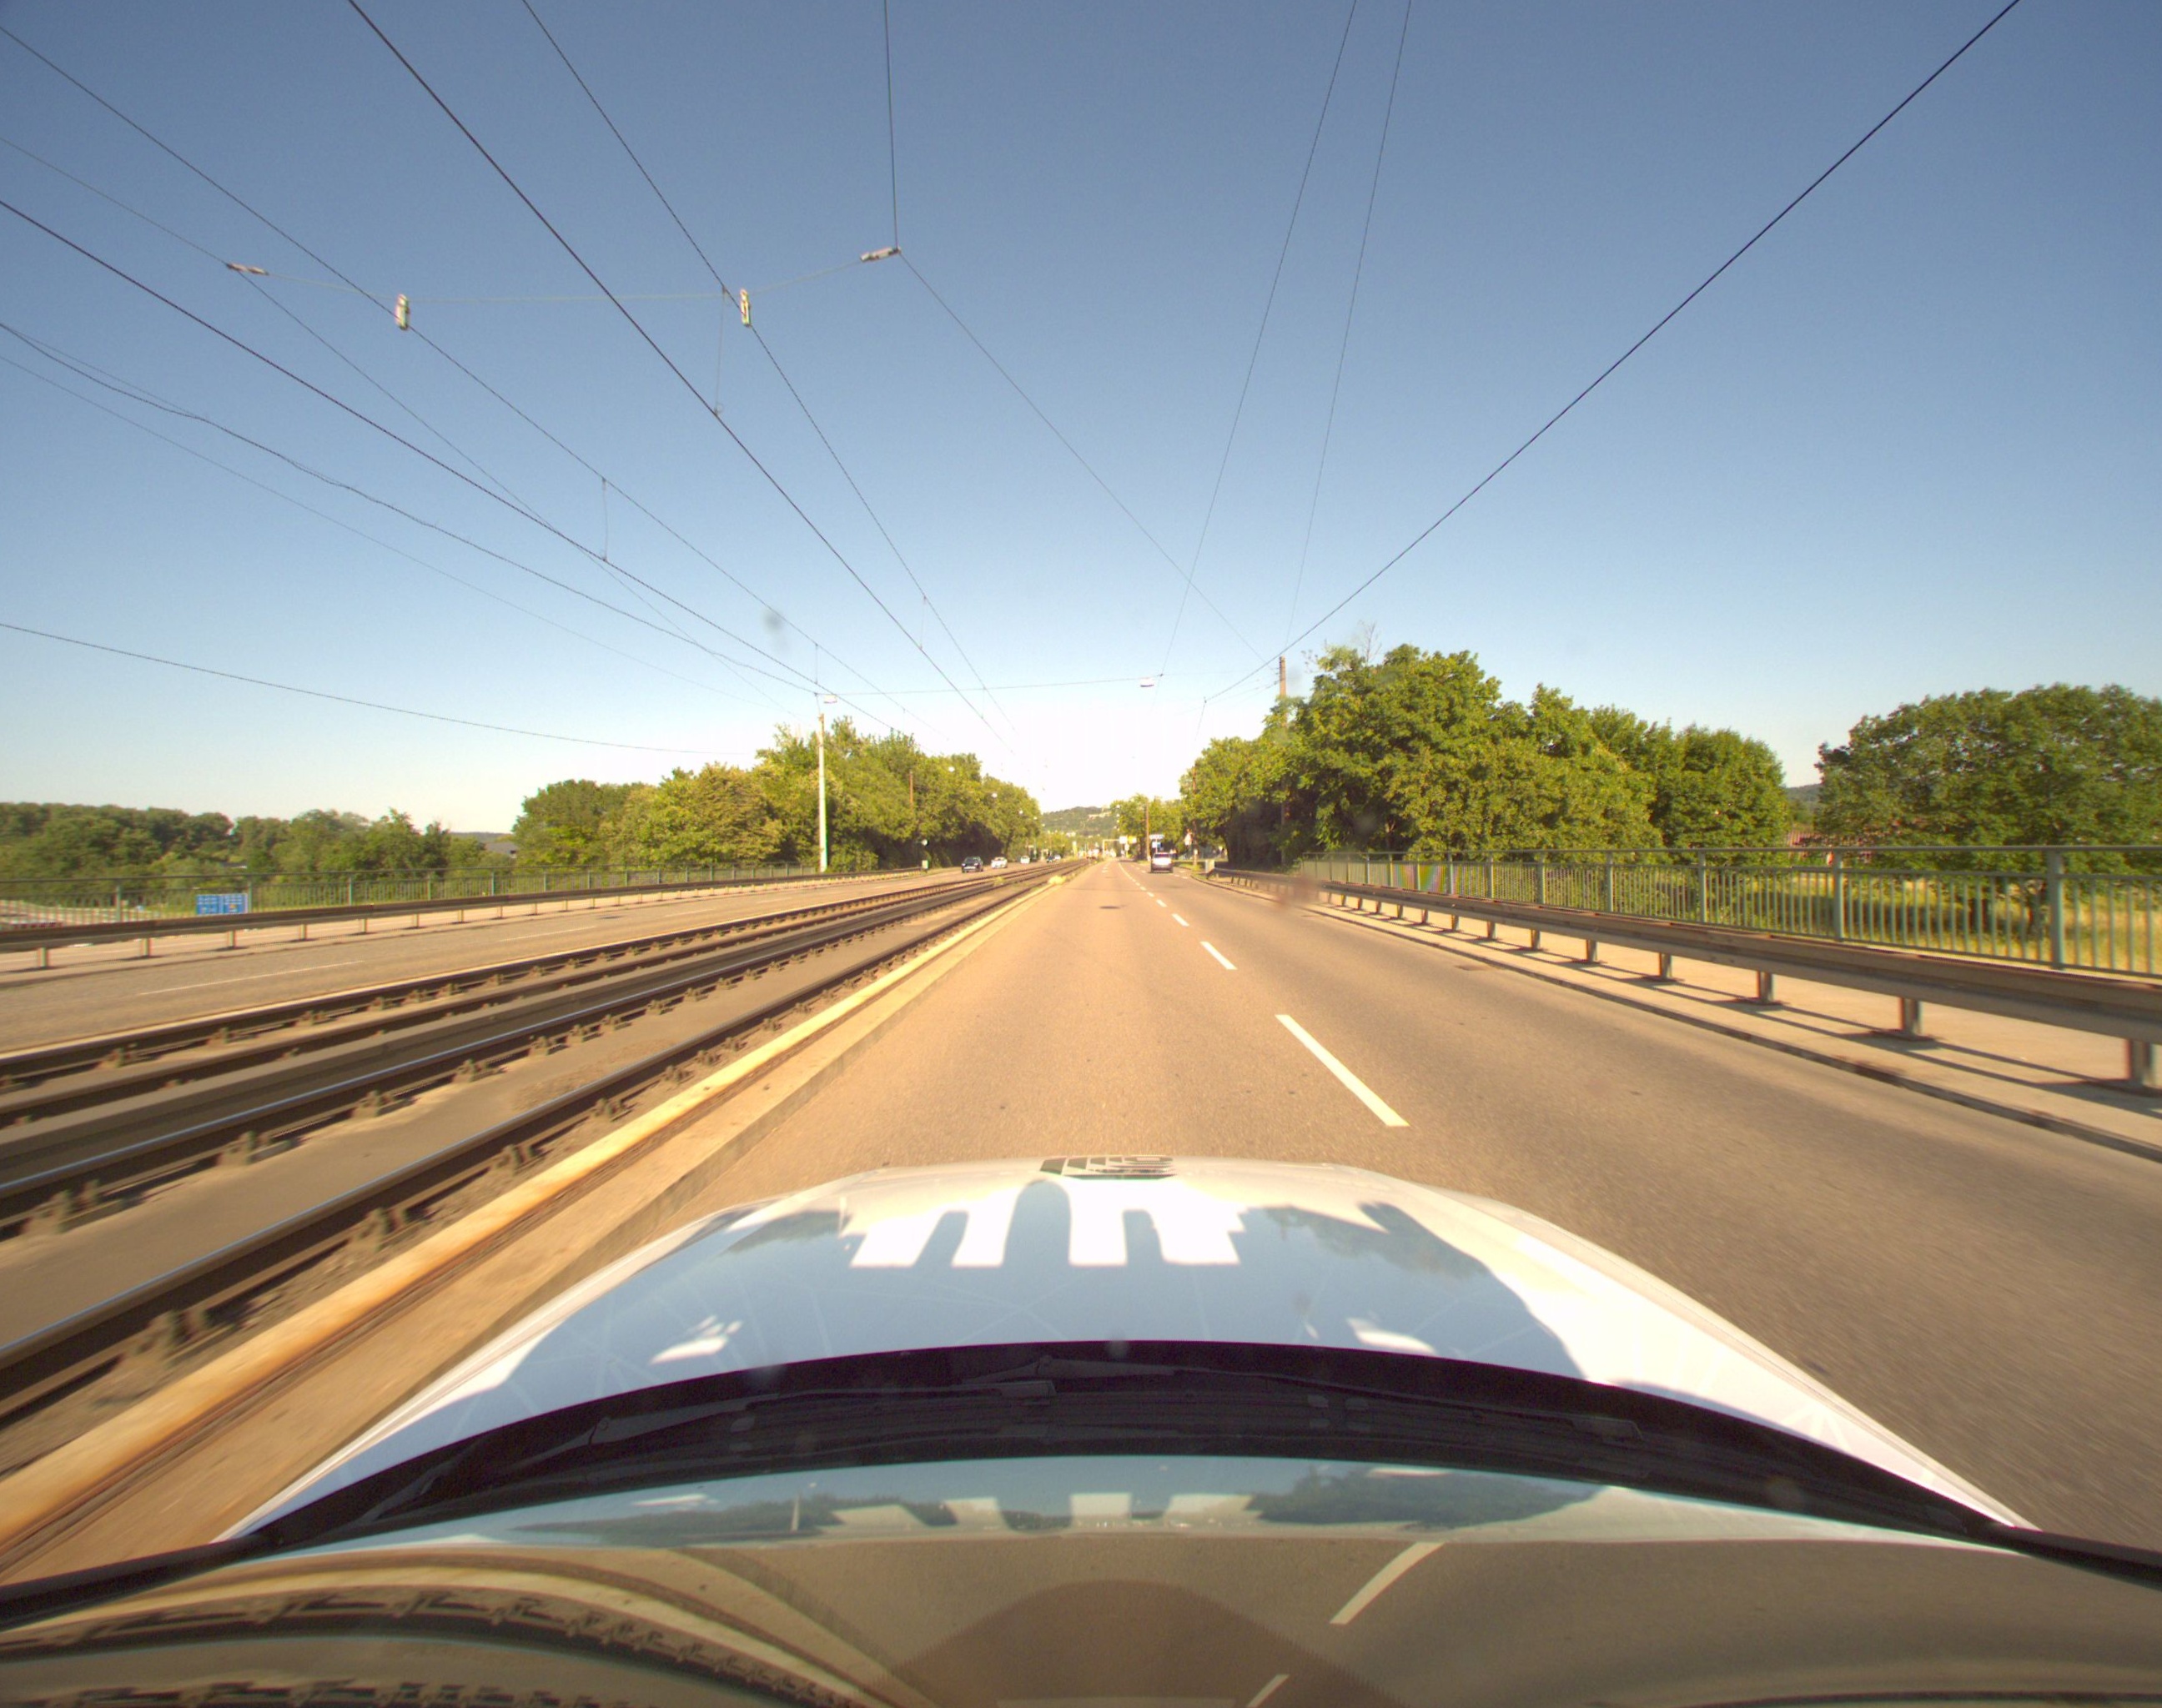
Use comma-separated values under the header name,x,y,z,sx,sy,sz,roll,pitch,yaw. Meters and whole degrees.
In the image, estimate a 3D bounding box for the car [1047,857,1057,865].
name,x,y,z,sx,sy,sz,roll,pitch,yaw
car,-5.949,1.425,169.517,1.650,1.432,4.504,-3,0,3

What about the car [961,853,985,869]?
name,x,y,z,sx,sy,sz,roll,pitch,yaw
car,-11.249,0.734,85.195,1.703,1.580,4.802,-2,0,1

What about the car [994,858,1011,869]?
name,x,y,z,sx,sy,sz,roll,pitch,yaw
car,-10.561,1.265,109.737,1.749,1.414,4.878,-3,0,1

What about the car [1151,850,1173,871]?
name,x,y,z,sx,sy,sz,roll,pitch,yaw
car,6.790,0.535,68.171,1.799,1.773,3.869,0,0,6

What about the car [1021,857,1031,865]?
name,x,y,z,sx,sy,sz,roll,pitch,yaw
car,-11.917,1.509,177.118,1.684,1.556,4.194,-3,0,3
